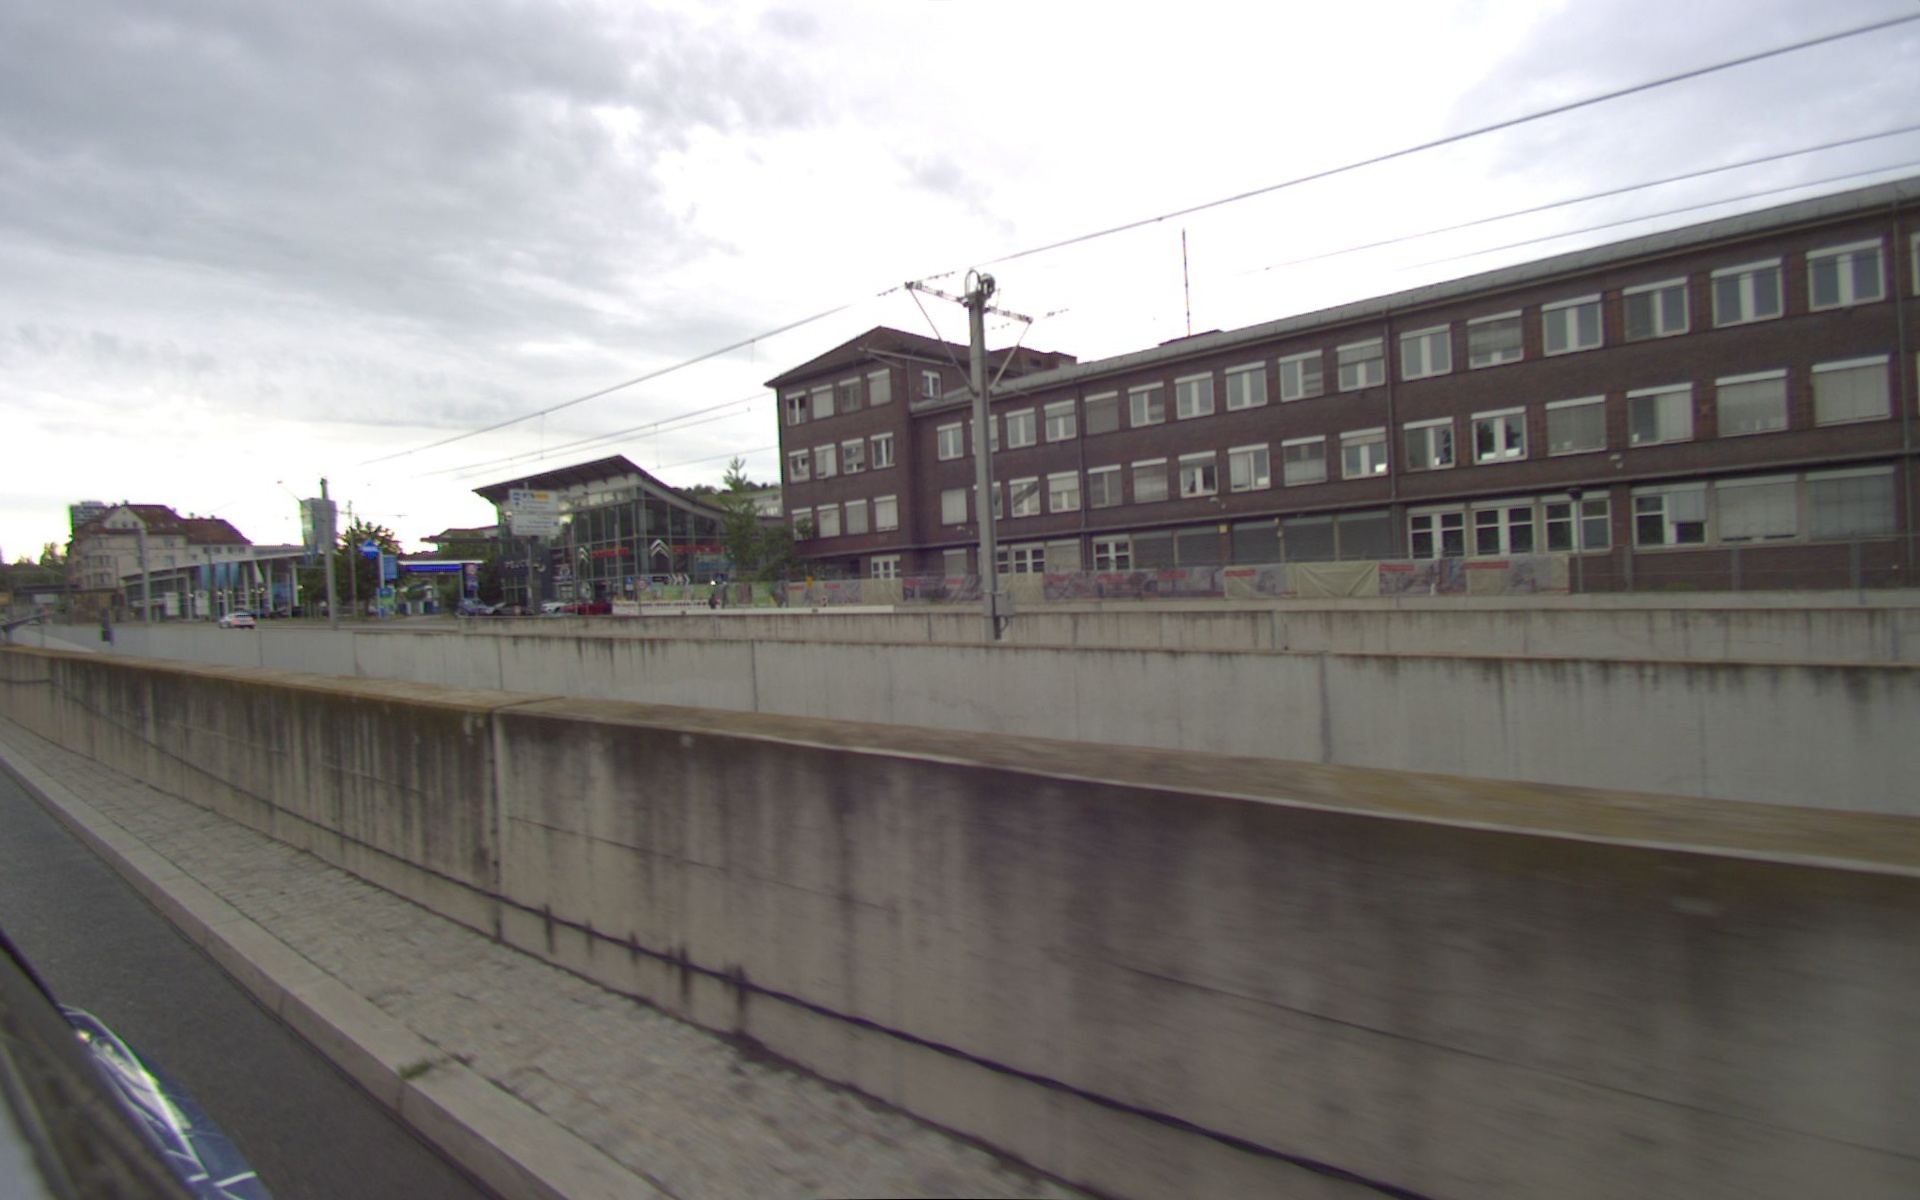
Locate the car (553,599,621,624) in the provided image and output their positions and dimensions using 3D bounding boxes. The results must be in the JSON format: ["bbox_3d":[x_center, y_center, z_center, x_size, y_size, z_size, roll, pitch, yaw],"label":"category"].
[{"bbox_3d":[-29.221,0.878,79.391,1.999,1.773,4.519,-2,0,40],"label":"car"}]

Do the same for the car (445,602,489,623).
[{"bbox_3d":[-43.677,1.124,89.643,3.996,1.785,1.974,-2,0,40],"label":"car"}]

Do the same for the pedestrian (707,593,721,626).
[{"bbox_3d":[-15.094,0.587,62.090,0.720,2.029,0.580,-1,0,4],"label":"pedestrian"}]

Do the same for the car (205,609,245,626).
[{"bbox_3d":[-97.832,2.311,134.718,2.000,2.029,3.944,-2,0,42],"label":"car"}]

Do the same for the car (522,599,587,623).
[{"bbox_3d":[-33.154,0.912,82.773,1.999,1.773,4.519,-2,0,40],"label":"car"}]

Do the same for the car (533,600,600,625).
[{"bbox_3d":[-31.407,0.986,80.876,1.999,1.773,4.519,-2,0,40],"label":"car"}]

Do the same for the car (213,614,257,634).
[{"bbox_3d":[-65.864,2.202,91.865,4.575,1.729,2.093,-2,0,39],"label":"car"}]

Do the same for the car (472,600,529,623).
[{"bbox_3d":[-39.621,0.975,87.279,1.999,1.785,3.946,-2,0,41],"label":"car"}]
